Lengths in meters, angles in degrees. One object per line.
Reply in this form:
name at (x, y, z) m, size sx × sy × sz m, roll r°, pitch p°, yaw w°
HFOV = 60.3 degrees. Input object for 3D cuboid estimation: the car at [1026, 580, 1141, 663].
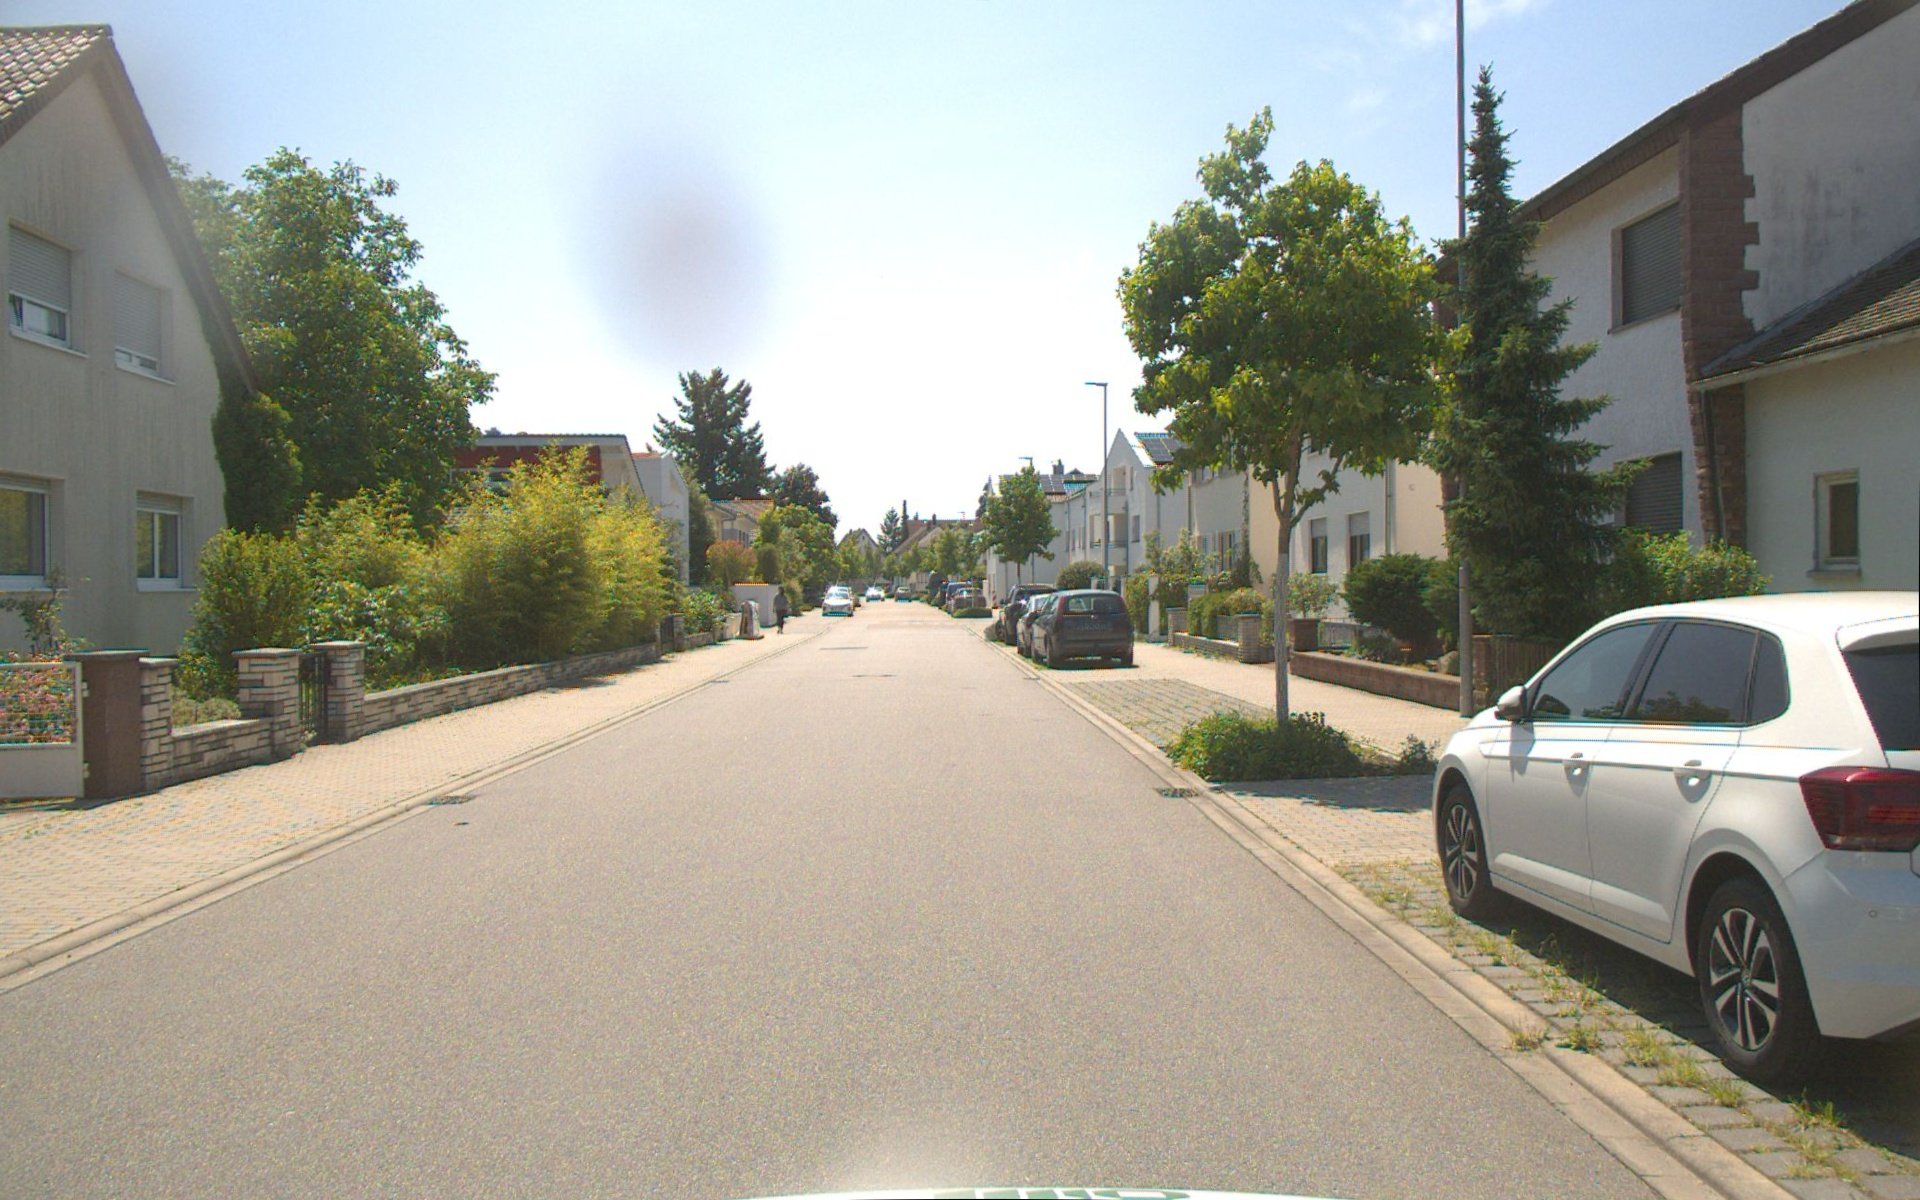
car at (2.457, 0.391, 33.900) m, size 1.707 × 1.560 × 4.445 m, roll -1°, pitch 1°, yaw -4°

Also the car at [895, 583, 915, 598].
car at (-5.580, -1.017, 168.664) m, size 1.953 × 1.455 × 4.000 m, roll -1°, pitch 1°, yaw 0°

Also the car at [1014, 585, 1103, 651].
car at (2.307, 0.385, 39.520) m, size 1.777 × 1.445 × 4.092 m, roll -1°, pitch 1°, yaw -1°

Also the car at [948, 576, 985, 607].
car at (0.340, -0.479, 92.207) m, size 1.738 × 1.623 × 4.275 m, roll -1°, pitch 1°, yaw -4°

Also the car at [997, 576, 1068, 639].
car at (2.098, 0.177, 48.749) m, size 1.777 × 1.685 × 4.563 m, roll -1°, pitch 1°, yaw -1°

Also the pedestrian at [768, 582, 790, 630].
pedestrian at (-6.889, 0.220, 62.959) m, size 0.700 × 1.777 × 0.960 m, roll -1°, pitch 0°, yaw -2°

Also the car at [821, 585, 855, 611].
car at (-7.375, -0.156, 100.270) m, size 1.814 × 1.514 × 4.384 m, roll -1°, pitch 1°, yaw -2°

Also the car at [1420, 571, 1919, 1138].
car at (3.235, 0.626, 6.251) m, size 1.778 × 1.445 × 3.866 m, roll -1°, pitch 1°, yaw -2°

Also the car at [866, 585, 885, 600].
car at (-8.893, -0.779, 173.860) m, size 1.815 × 1.504 × 4.699 m, roll -1°, pitch 1°, yaw 0°

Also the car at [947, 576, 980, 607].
car at (0.199, -0.574, 108.851) m, size 2.057 × 1.914 × 4.841 m, roll -1°, pitch 1°, yaw -1°

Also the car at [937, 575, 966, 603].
car at (-0.691, -0.806, 123.077) m, size 1.953 × 1.981 × 5.213 m, roll -2°, pitch 1°, yaw -2°

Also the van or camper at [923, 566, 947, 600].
van or camper at (-2.257, -1.501, 147.886) m, size 1.953 × 2.992 × 3.998 m, roll -1°, pitch 1°, yaw -2°
